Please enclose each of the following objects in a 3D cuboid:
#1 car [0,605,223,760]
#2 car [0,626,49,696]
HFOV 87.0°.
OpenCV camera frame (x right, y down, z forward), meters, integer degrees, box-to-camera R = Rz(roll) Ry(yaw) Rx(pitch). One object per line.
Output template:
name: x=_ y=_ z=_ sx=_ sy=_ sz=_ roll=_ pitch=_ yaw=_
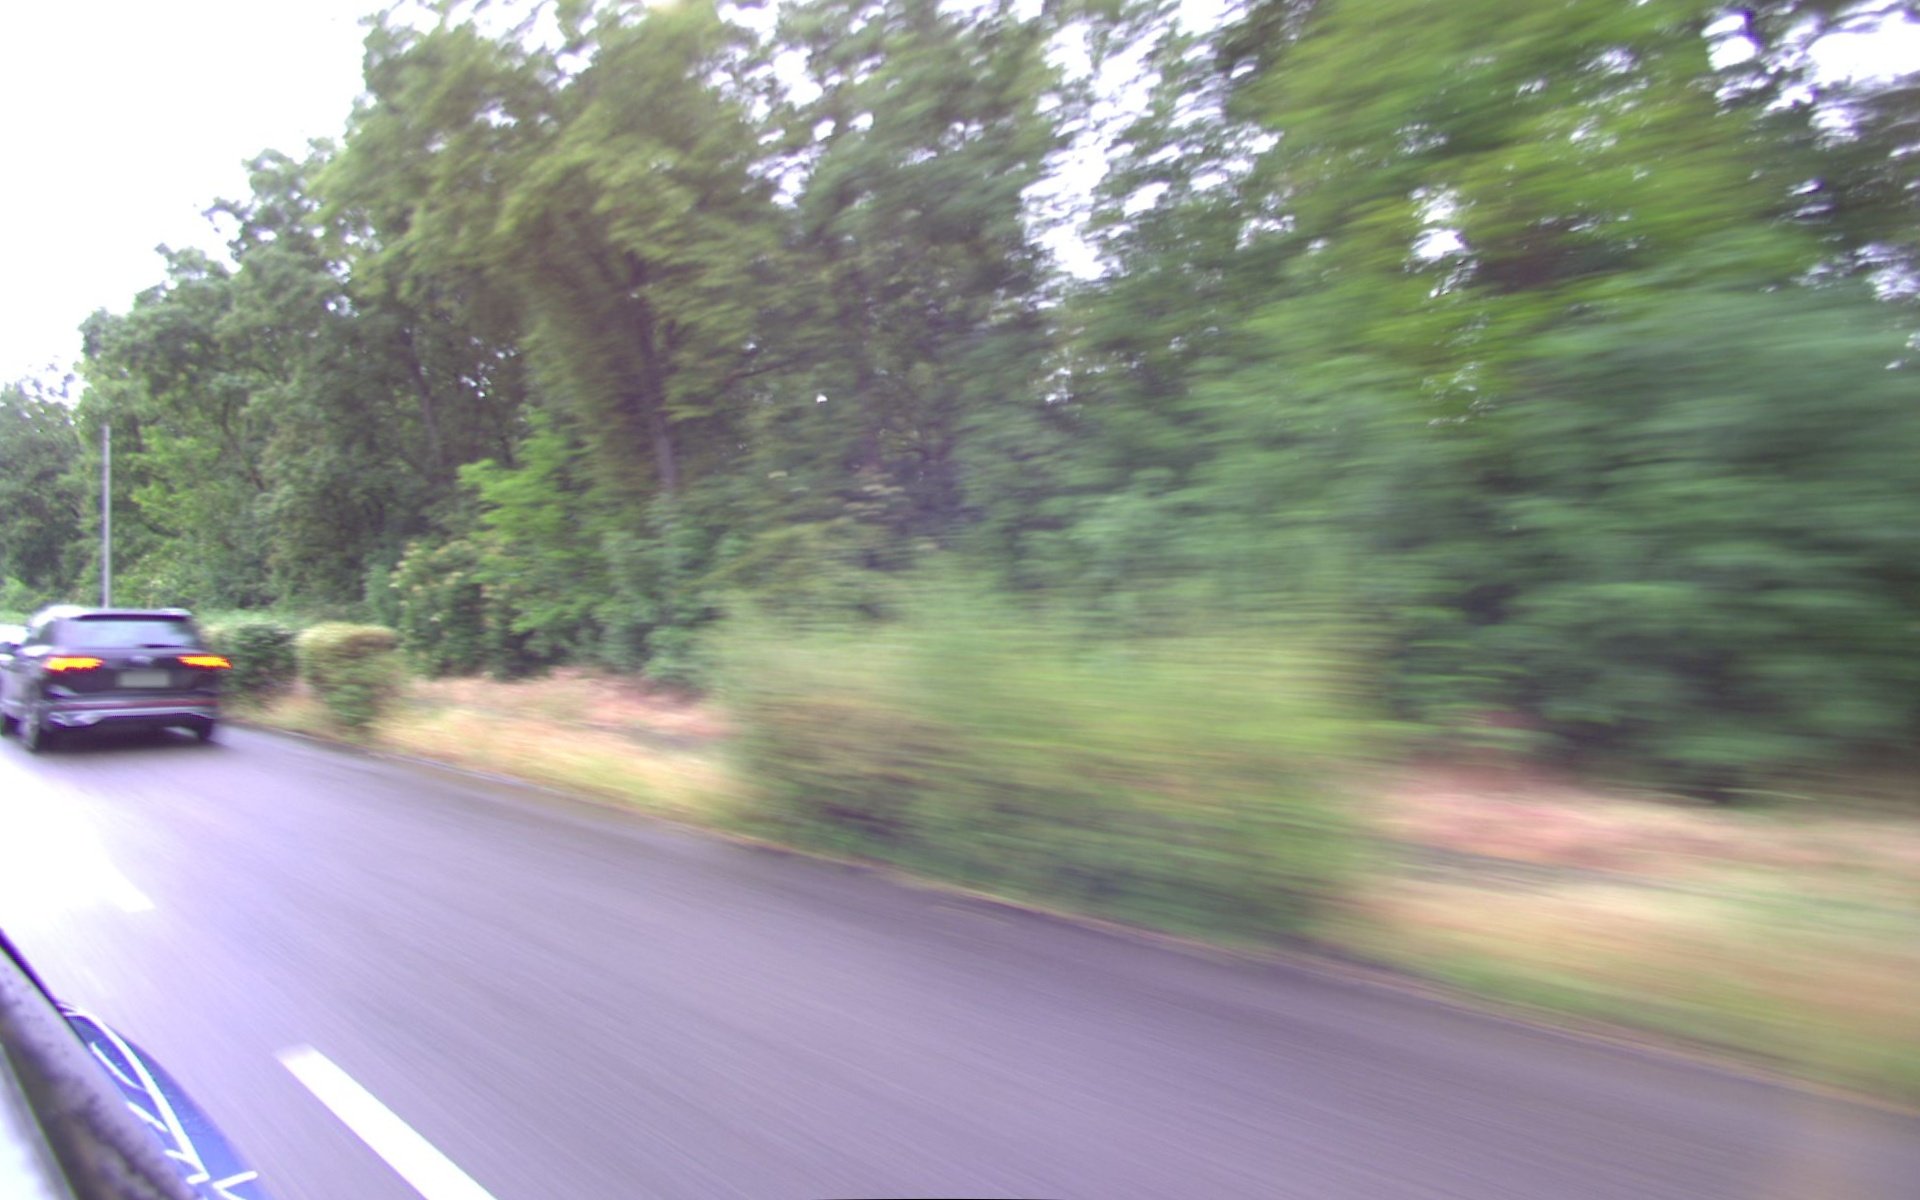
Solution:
car: x=-10.770 y=0.924 z=12.594 sx=4.059 sy=1.630 sz=1.659 roll=-1 pitch=-2 yaw=40
car: x=-21.592 y=1.291 z=22.228 sx=4.047 sy=1.457 sz=1.697 roll=-1 pitch=-2 yaw=39
